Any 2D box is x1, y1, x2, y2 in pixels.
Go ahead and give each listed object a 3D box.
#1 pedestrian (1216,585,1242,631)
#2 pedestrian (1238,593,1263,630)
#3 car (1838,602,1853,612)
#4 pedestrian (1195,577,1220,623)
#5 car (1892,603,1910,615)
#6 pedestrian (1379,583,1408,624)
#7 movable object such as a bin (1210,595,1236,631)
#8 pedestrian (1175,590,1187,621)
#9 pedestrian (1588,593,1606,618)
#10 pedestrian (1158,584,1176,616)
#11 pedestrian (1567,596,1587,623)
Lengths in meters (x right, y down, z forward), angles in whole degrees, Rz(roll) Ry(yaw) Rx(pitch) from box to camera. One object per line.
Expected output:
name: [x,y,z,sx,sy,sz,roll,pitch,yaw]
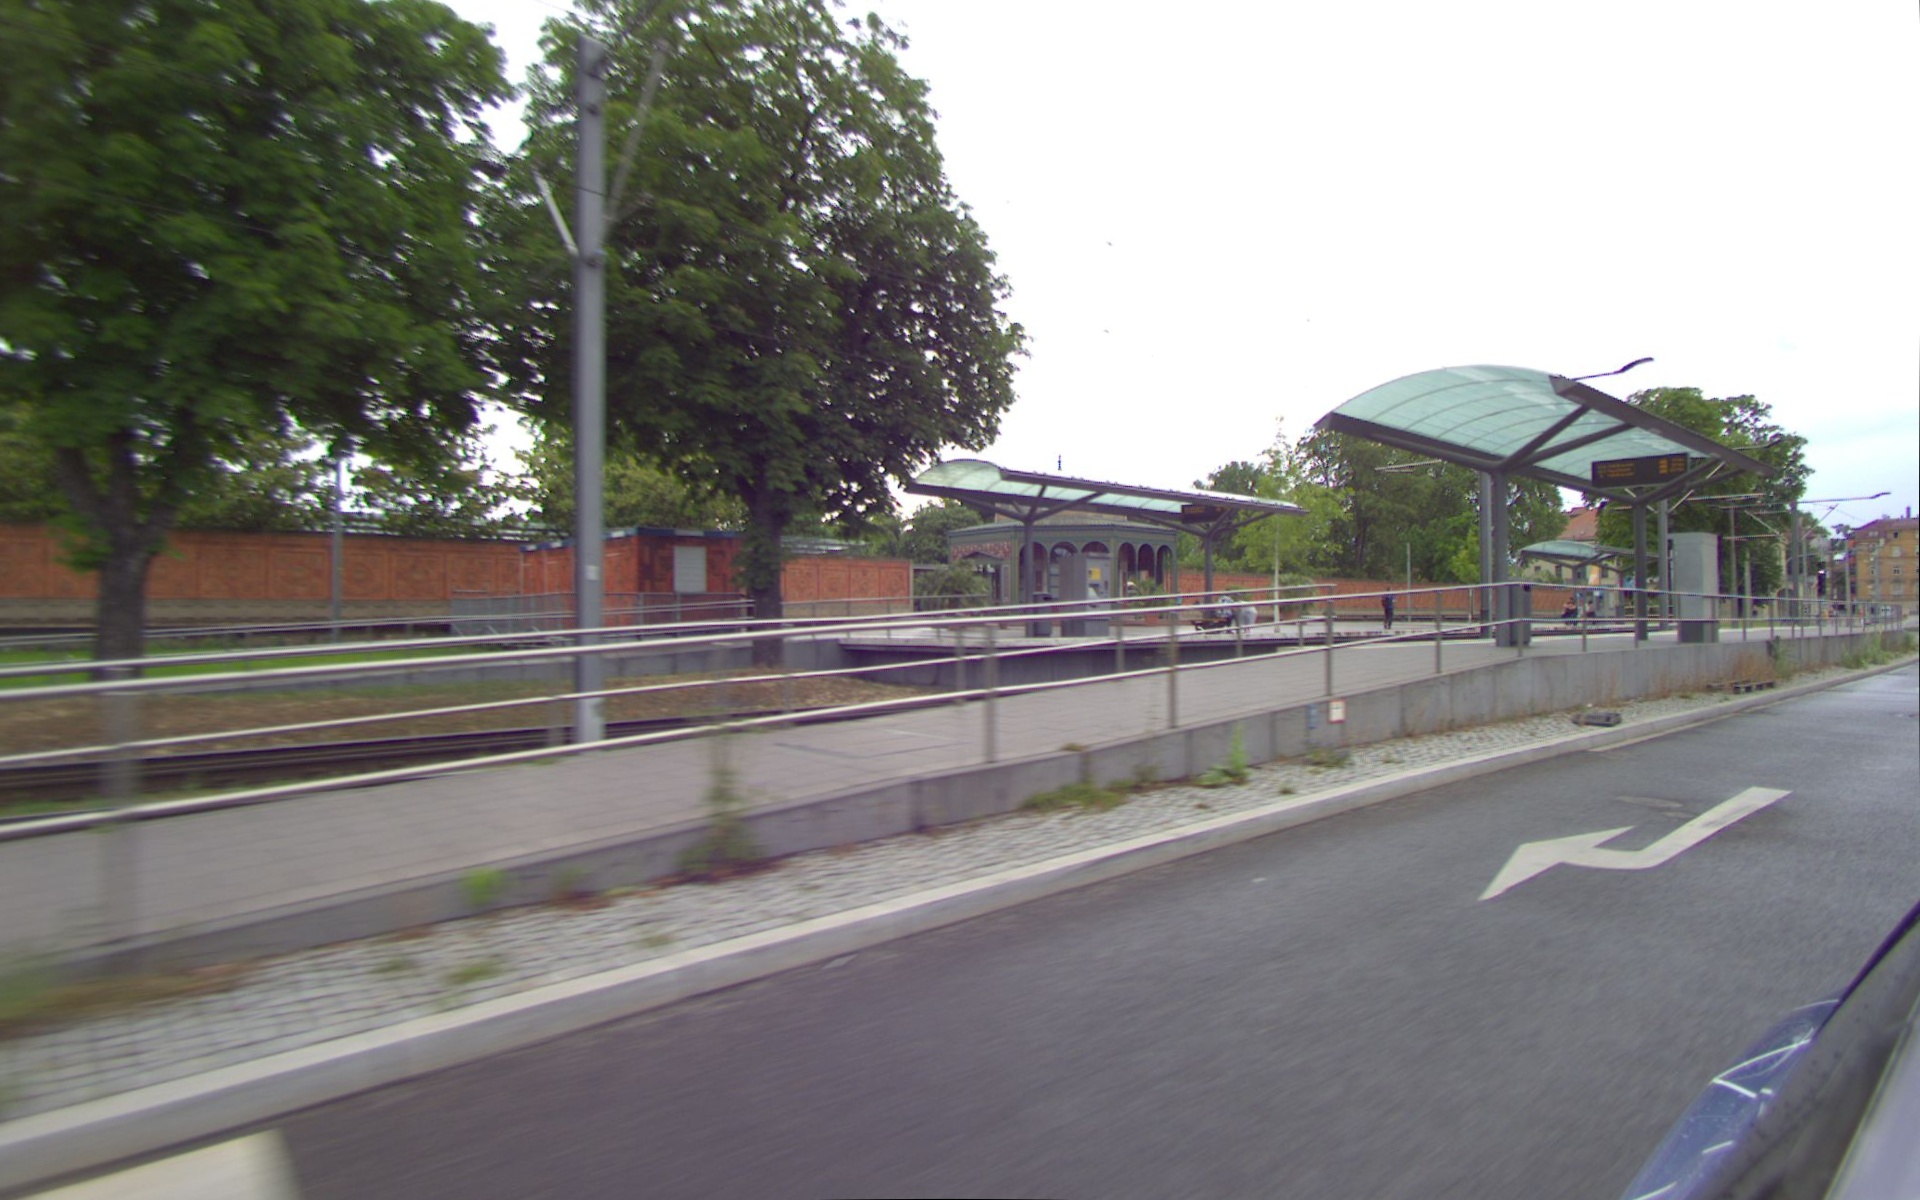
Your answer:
pedestrian: [7.349,0.206,27.634,0.541,1.241,0.438,1,-1,-40]
pedestrian: [8.076,0.322,28.154,0.541,1.021,0.438,0,0,-40]
car: [153.609,1.253,175.579,1.825,1.603,3.938,-1,0,43]
pedestrian: [6.846,-0.004,27.972,0.541,1.241,0.438,1,-1,-40]
car: [145.798,1.331,156.797,1.838,1.661,4.077,-6,-4,44]
pedestrian: [19.581,0.148,45.716,1.161,1.813,0.722,1,0,-40]
movable object such as a bin: [7.569,0.369,29.111,0.670,1.021,0.438,1,0,-40]
pedestrian: [12.157,0.293,55.603,0.460,1.678,0.552,-1,-1,-6]
pedestrian: [29.534,0.263,46.922,0.597,1.134,0.514,-6,-4,33]
pedestrian: [11.306,-0.010,55.361,0.681,1.733,0.533,-2,-2,-29]
pedestrian: [28.642,0.438,46.984,0.770,1.228,0.518,-1,-5,-45]
